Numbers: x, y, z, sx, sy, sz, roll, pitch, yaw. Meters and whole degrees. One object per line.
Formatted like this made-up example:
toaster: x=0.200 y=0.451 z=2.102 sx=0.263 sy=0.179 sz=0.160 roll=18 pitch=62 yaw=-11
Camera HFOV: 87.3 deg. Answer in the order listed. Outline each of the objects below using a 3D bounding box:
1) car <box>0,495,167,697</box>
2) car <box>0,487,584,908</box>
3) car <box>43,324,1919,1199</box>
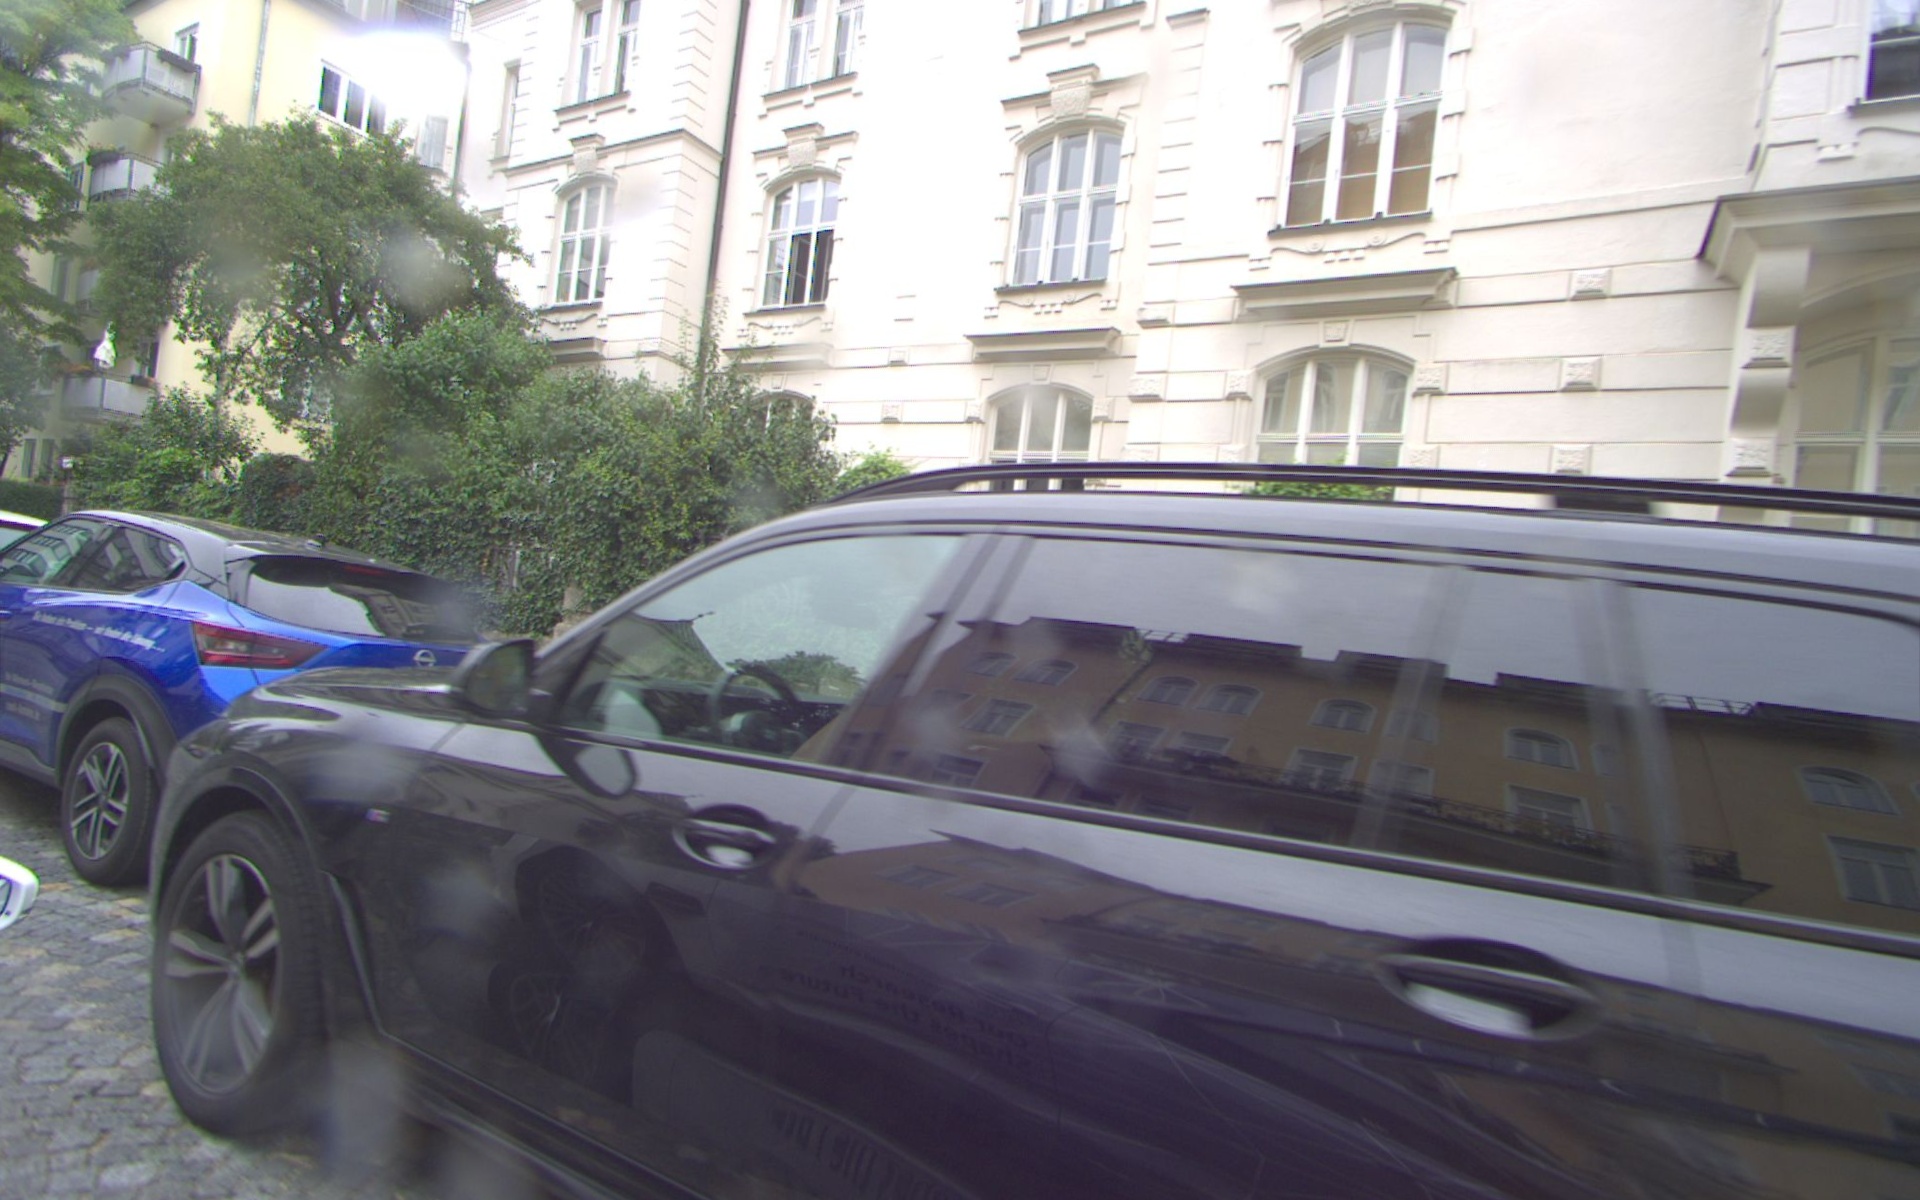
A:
car: x=-8.810 y=-0.209 z=8.375 sx=4.315 sy=1.445 sz=1.779 roll=6 pitch=-2 yaw=28
car: x=-4.272 y=0.320 z=5.487 sx=4.177 sy=1.497 sz=1.715 roll=6 pitch=-4 yaw=29
car: x=0.276 y=0.562 z=2.375 sx=5.397 sy=1.692 sz=1.880 roll=6 pitch=-2 yaw=29
